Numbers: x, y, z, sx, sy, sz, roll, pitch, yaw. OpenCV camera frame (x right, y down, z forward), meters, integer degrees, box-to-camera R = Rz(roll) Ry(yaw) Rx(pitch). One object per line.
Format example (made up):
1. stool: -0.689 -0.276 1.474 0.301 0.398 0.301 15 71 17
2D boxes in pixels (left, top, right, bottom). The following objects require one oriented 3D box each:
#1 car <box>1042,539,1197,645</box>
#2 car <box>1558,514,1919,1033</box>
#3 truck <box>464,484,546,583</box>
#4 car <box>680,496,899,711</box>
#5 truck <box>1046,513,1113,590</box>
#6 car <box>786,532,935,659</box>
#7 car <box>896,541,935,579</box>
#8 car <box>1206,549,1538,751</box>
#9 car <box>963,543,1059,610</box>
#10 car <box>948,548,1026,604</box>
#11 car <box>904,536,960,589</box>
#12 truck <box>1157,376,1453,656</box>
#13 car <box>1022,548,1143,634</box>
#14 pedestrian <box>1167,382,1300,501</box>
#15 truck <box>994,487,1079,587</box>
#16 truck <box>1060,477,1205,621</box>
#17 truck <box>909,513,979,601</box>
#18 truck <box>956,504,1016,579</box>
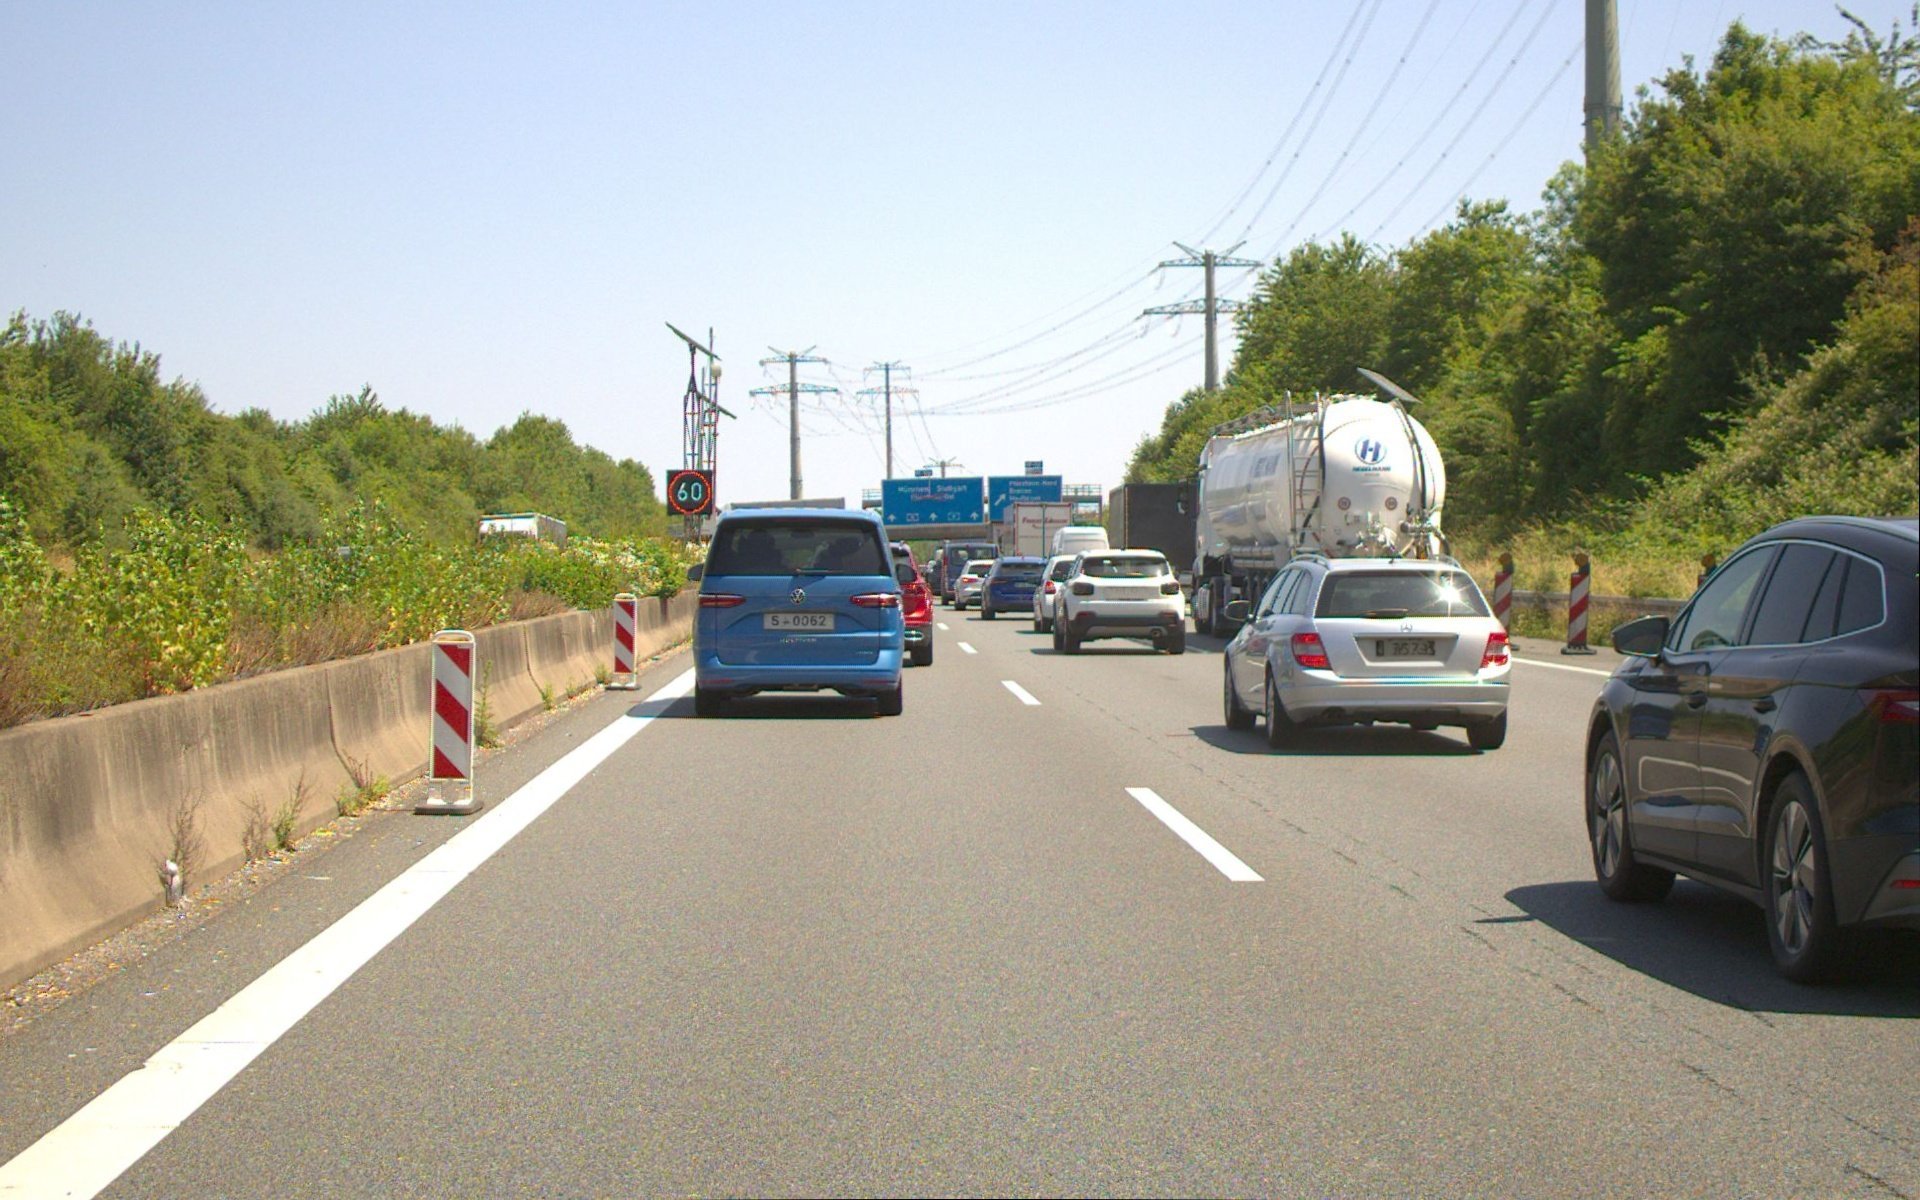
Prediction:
1. car: 2.350 -0.135 51.537 1.908 1.503 3.922 1 1 -3
2. car: 3.629 0.500 12.897 1.828 1.609 4.431 0 1 -2
3. truck: -20.245 -2.950 153.218 2.751 4.152 6.412 -4 1 -2
4. car: -1.677 0.006 32.439 1.870 1.873 4.384 1 1 -5
5. truck: 4.317 -1.763 124.957 1.993 2.714 5.681 1 1 -2
6. car: -1.367 -0.085 46.249 1.908 1.625 4.384 0 1 -3
7. car: -2.448 -2.194 188.584 1.993 2.007 4.000 1 1 -2
8. car: 3.122 0.331 26.908 1.821 1.432 4.384 1 1 -3
9. car: 1.169 -0.564 80.673 1.908 1.511 4.384 1 1 -3
10. car: 0.738 -0.689 96.925 1.908 1.511 4.384 1 1 -3
11. car: -1.090 -1.453 133.088 1.993 2.007 4.000 1 1 -2
12. truck: 5.522 -1.338 58.546 2.644 4.058 16.443 1 1 -2
13. car: 2.327 -0.195 66.162 1.908 1.564 4.384 1 1 -3
14. pedestrian: 4.933 -2.840 62.495 1.993 2.007 4.000 1 1 -1
15. truck: 3.373 -2.818 154.834 2.937 4.276 12.553 1 1 -2
16. truck: 4.448 -1.346 91.164 2.644 3.526 12.553 1 1 -2
17. truck: -0.534 -1.383 110.090 1.993 2.714 5.681 1 1 -2
18. truck: 1.486 -3.477 205.870 2.937 4.276 12.553 1 1 -2
